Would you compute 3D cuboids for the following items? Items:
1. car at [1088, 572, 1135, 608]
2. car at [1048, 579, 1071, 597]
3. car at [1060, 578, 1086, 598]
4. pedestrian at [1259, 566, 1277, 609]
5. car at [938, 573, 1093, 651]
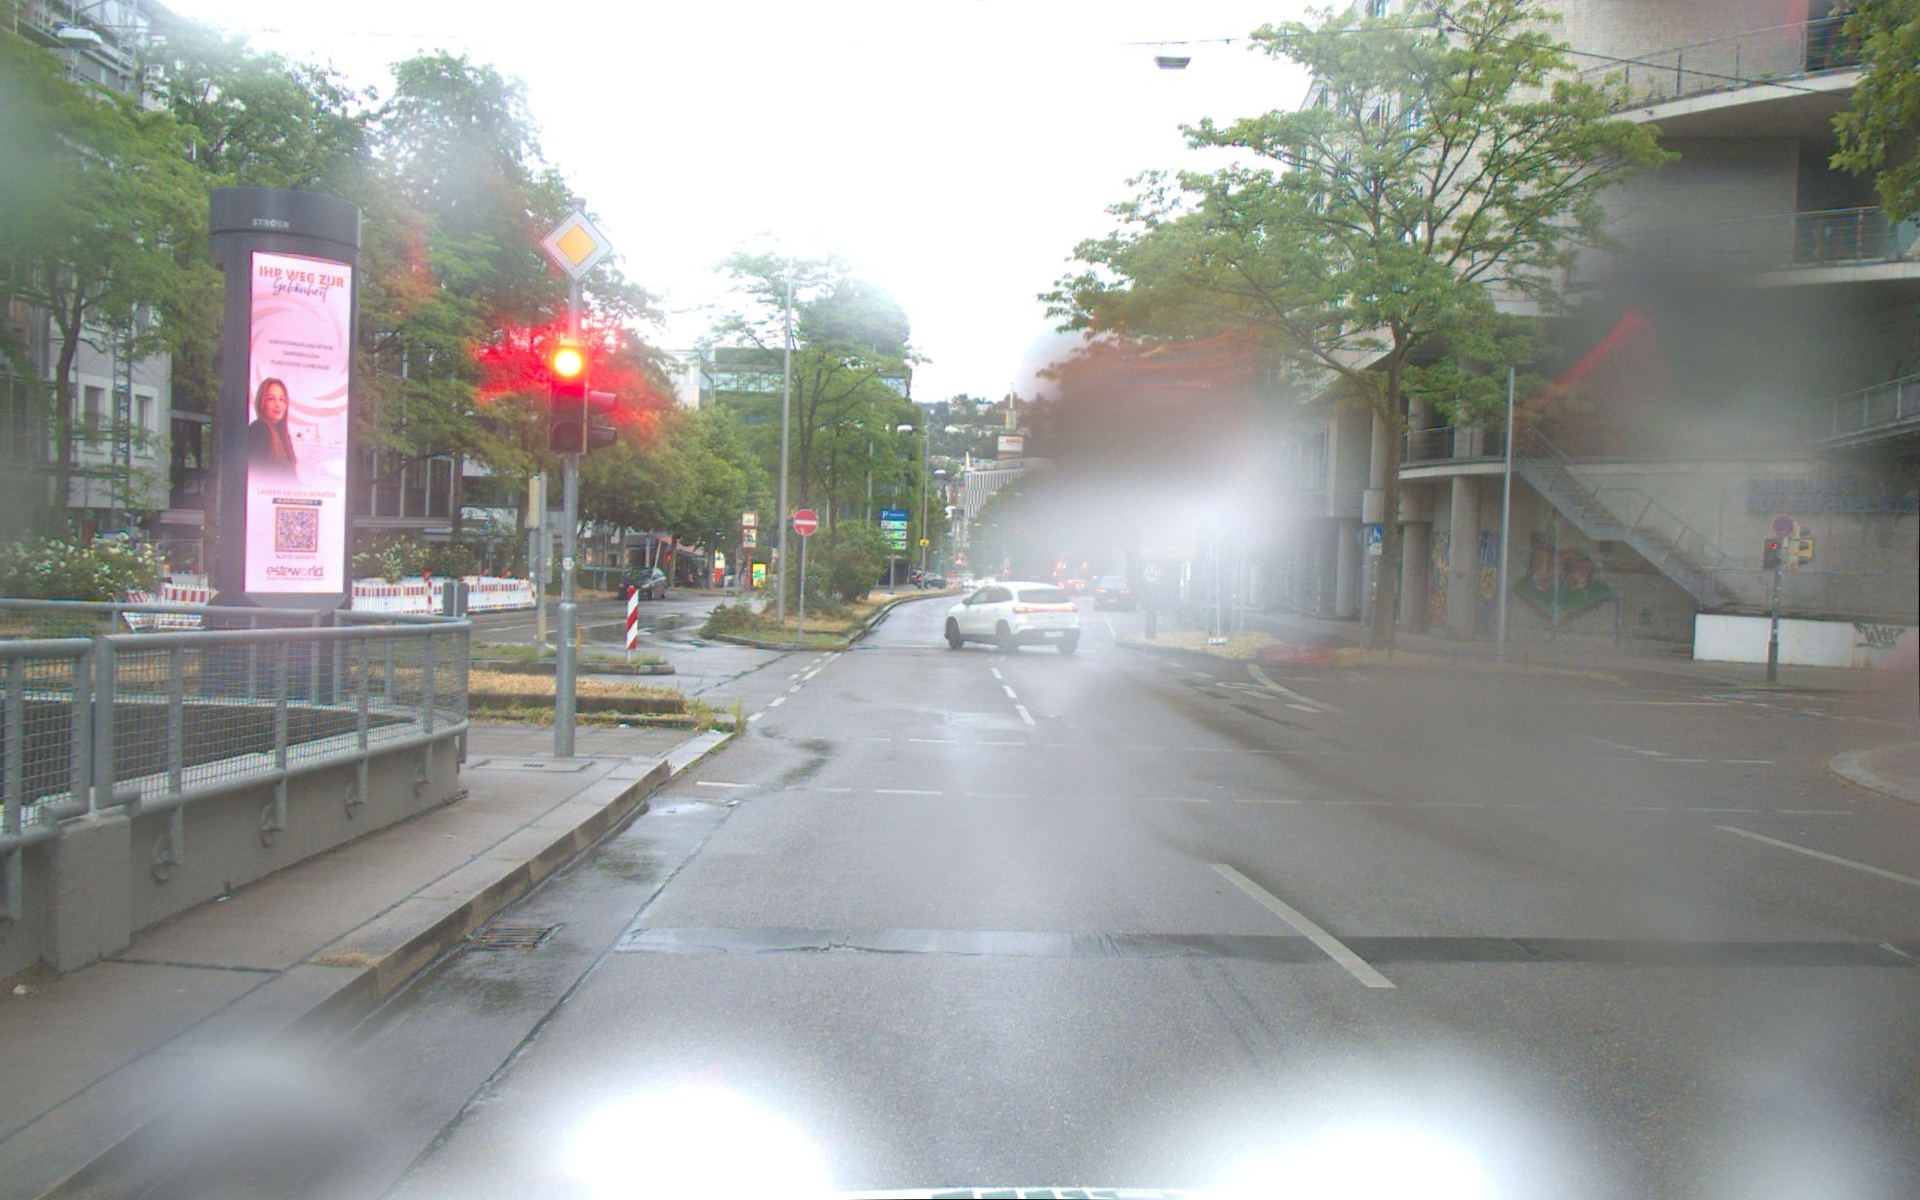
[{"bbox_3d":[7.665,-0.517,83.546,2.288,1.720,4.003,1,1,6],"label":"car"},{"bbox_3d":[10.025,-1.226,166.970,1.953,1.766,3.999,1,0,-1],"label":"car"},{"bbox_3d":[10.407,-1.050,152.194,1.953,1.754,3.999,1,0,-2],"label":"car"},{"bbox_3d":[14.137,-0.584,75.880,0.759,1.954,0.703,1,-1,9],"label":"pedestrian"},{"bbox_3d":[1.239,0.242,38.905,1.806,1.668,4.264,2,0,-26],"label":"car"}]
